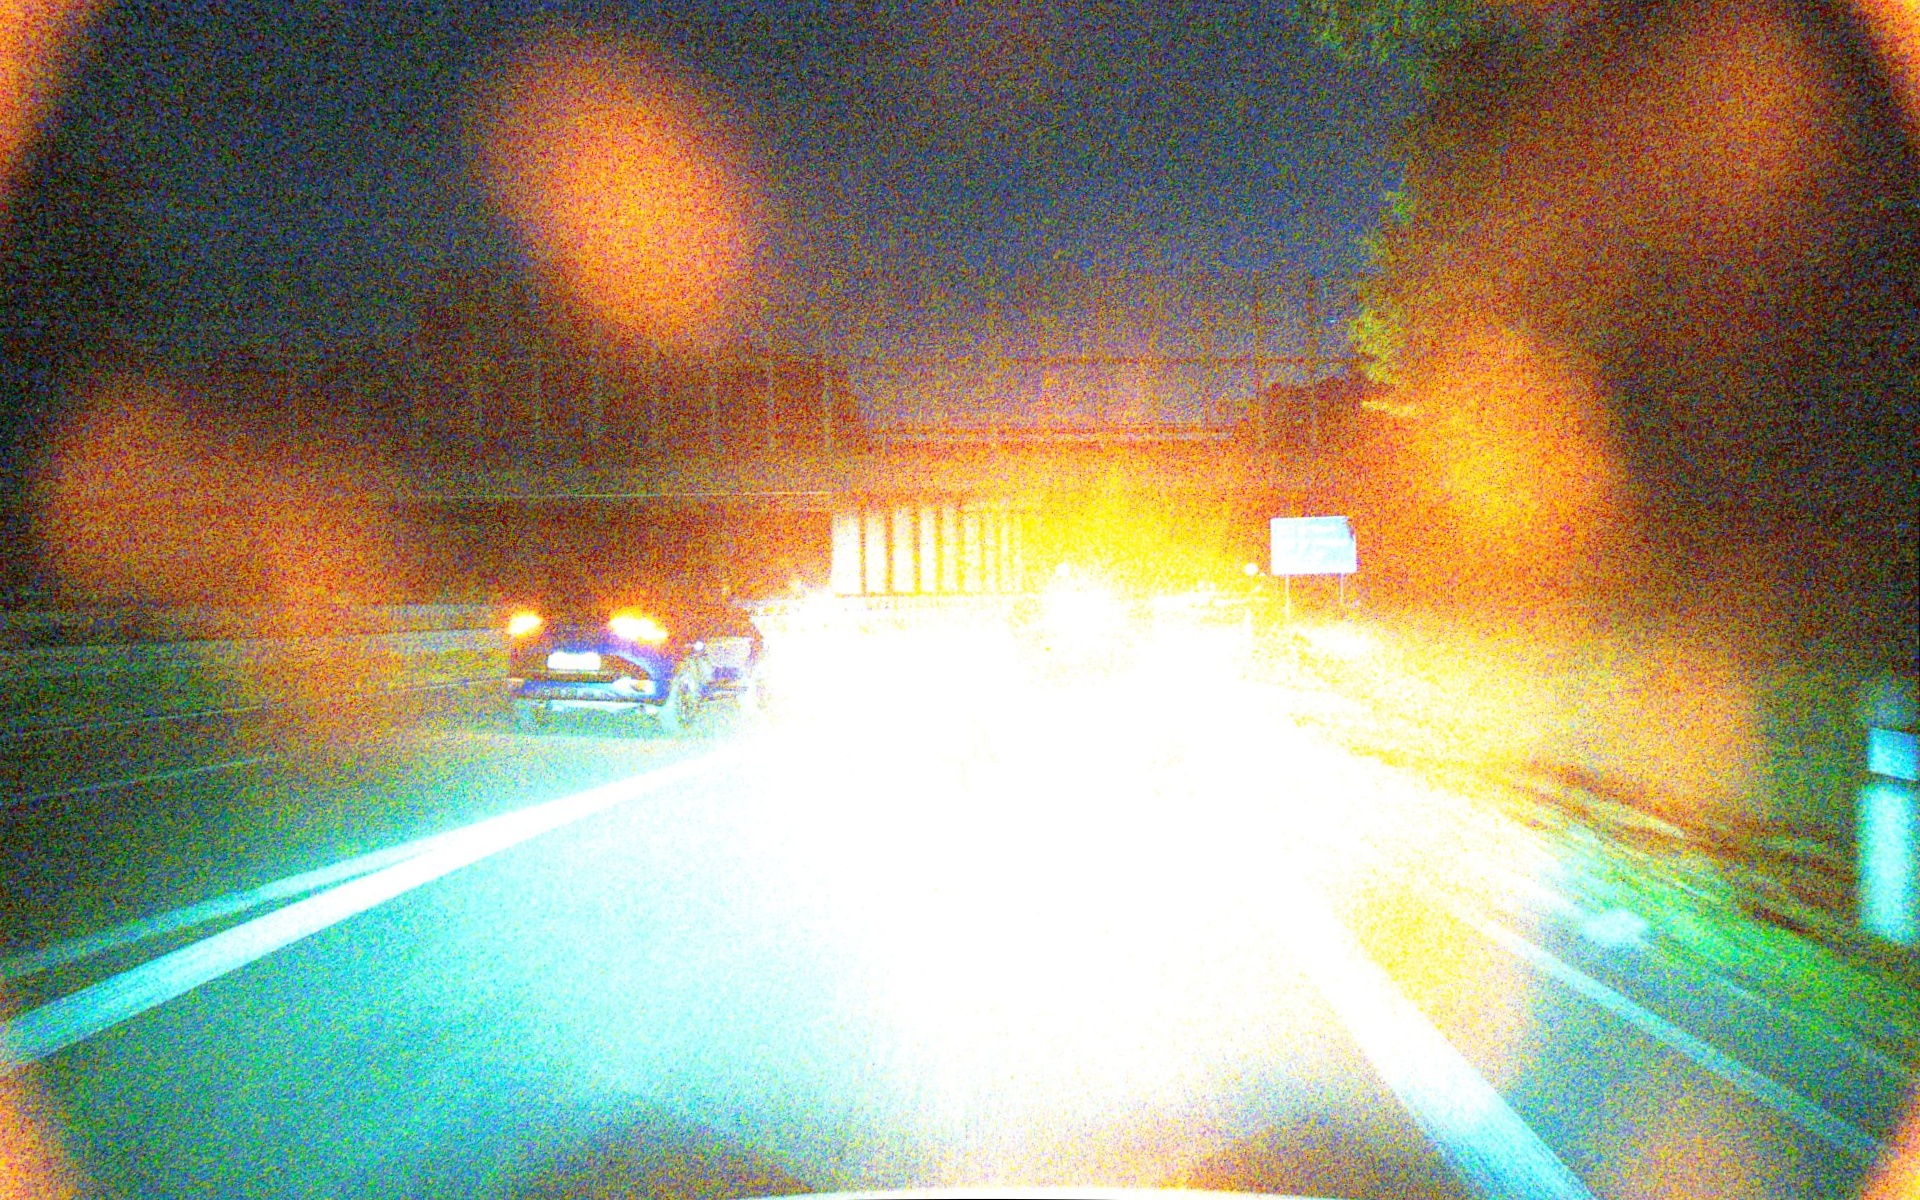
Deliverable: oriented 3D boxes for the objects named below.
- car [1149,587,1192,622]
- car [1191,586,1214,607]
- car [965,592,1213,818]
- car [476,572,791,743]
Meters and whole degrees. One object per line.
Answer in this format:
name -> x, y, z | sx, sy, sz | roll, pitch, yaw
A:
car -> 10.745, 0.246, 84.311 | 1.910, 1.564, 4.244 | -5, -2, 9
car -> 18.723, -0.274, 127.558 | 1.696, 1.646, 3.802 | 0, 1, 9
car -> 0.959, 0.710, 13.314 | 1.656, 1.503, 4.001 | 1, 0, 2
car -> -3.470, 0.556, 18.604 | 1.899, 1.636, 4.647 | 1, 0, 10
